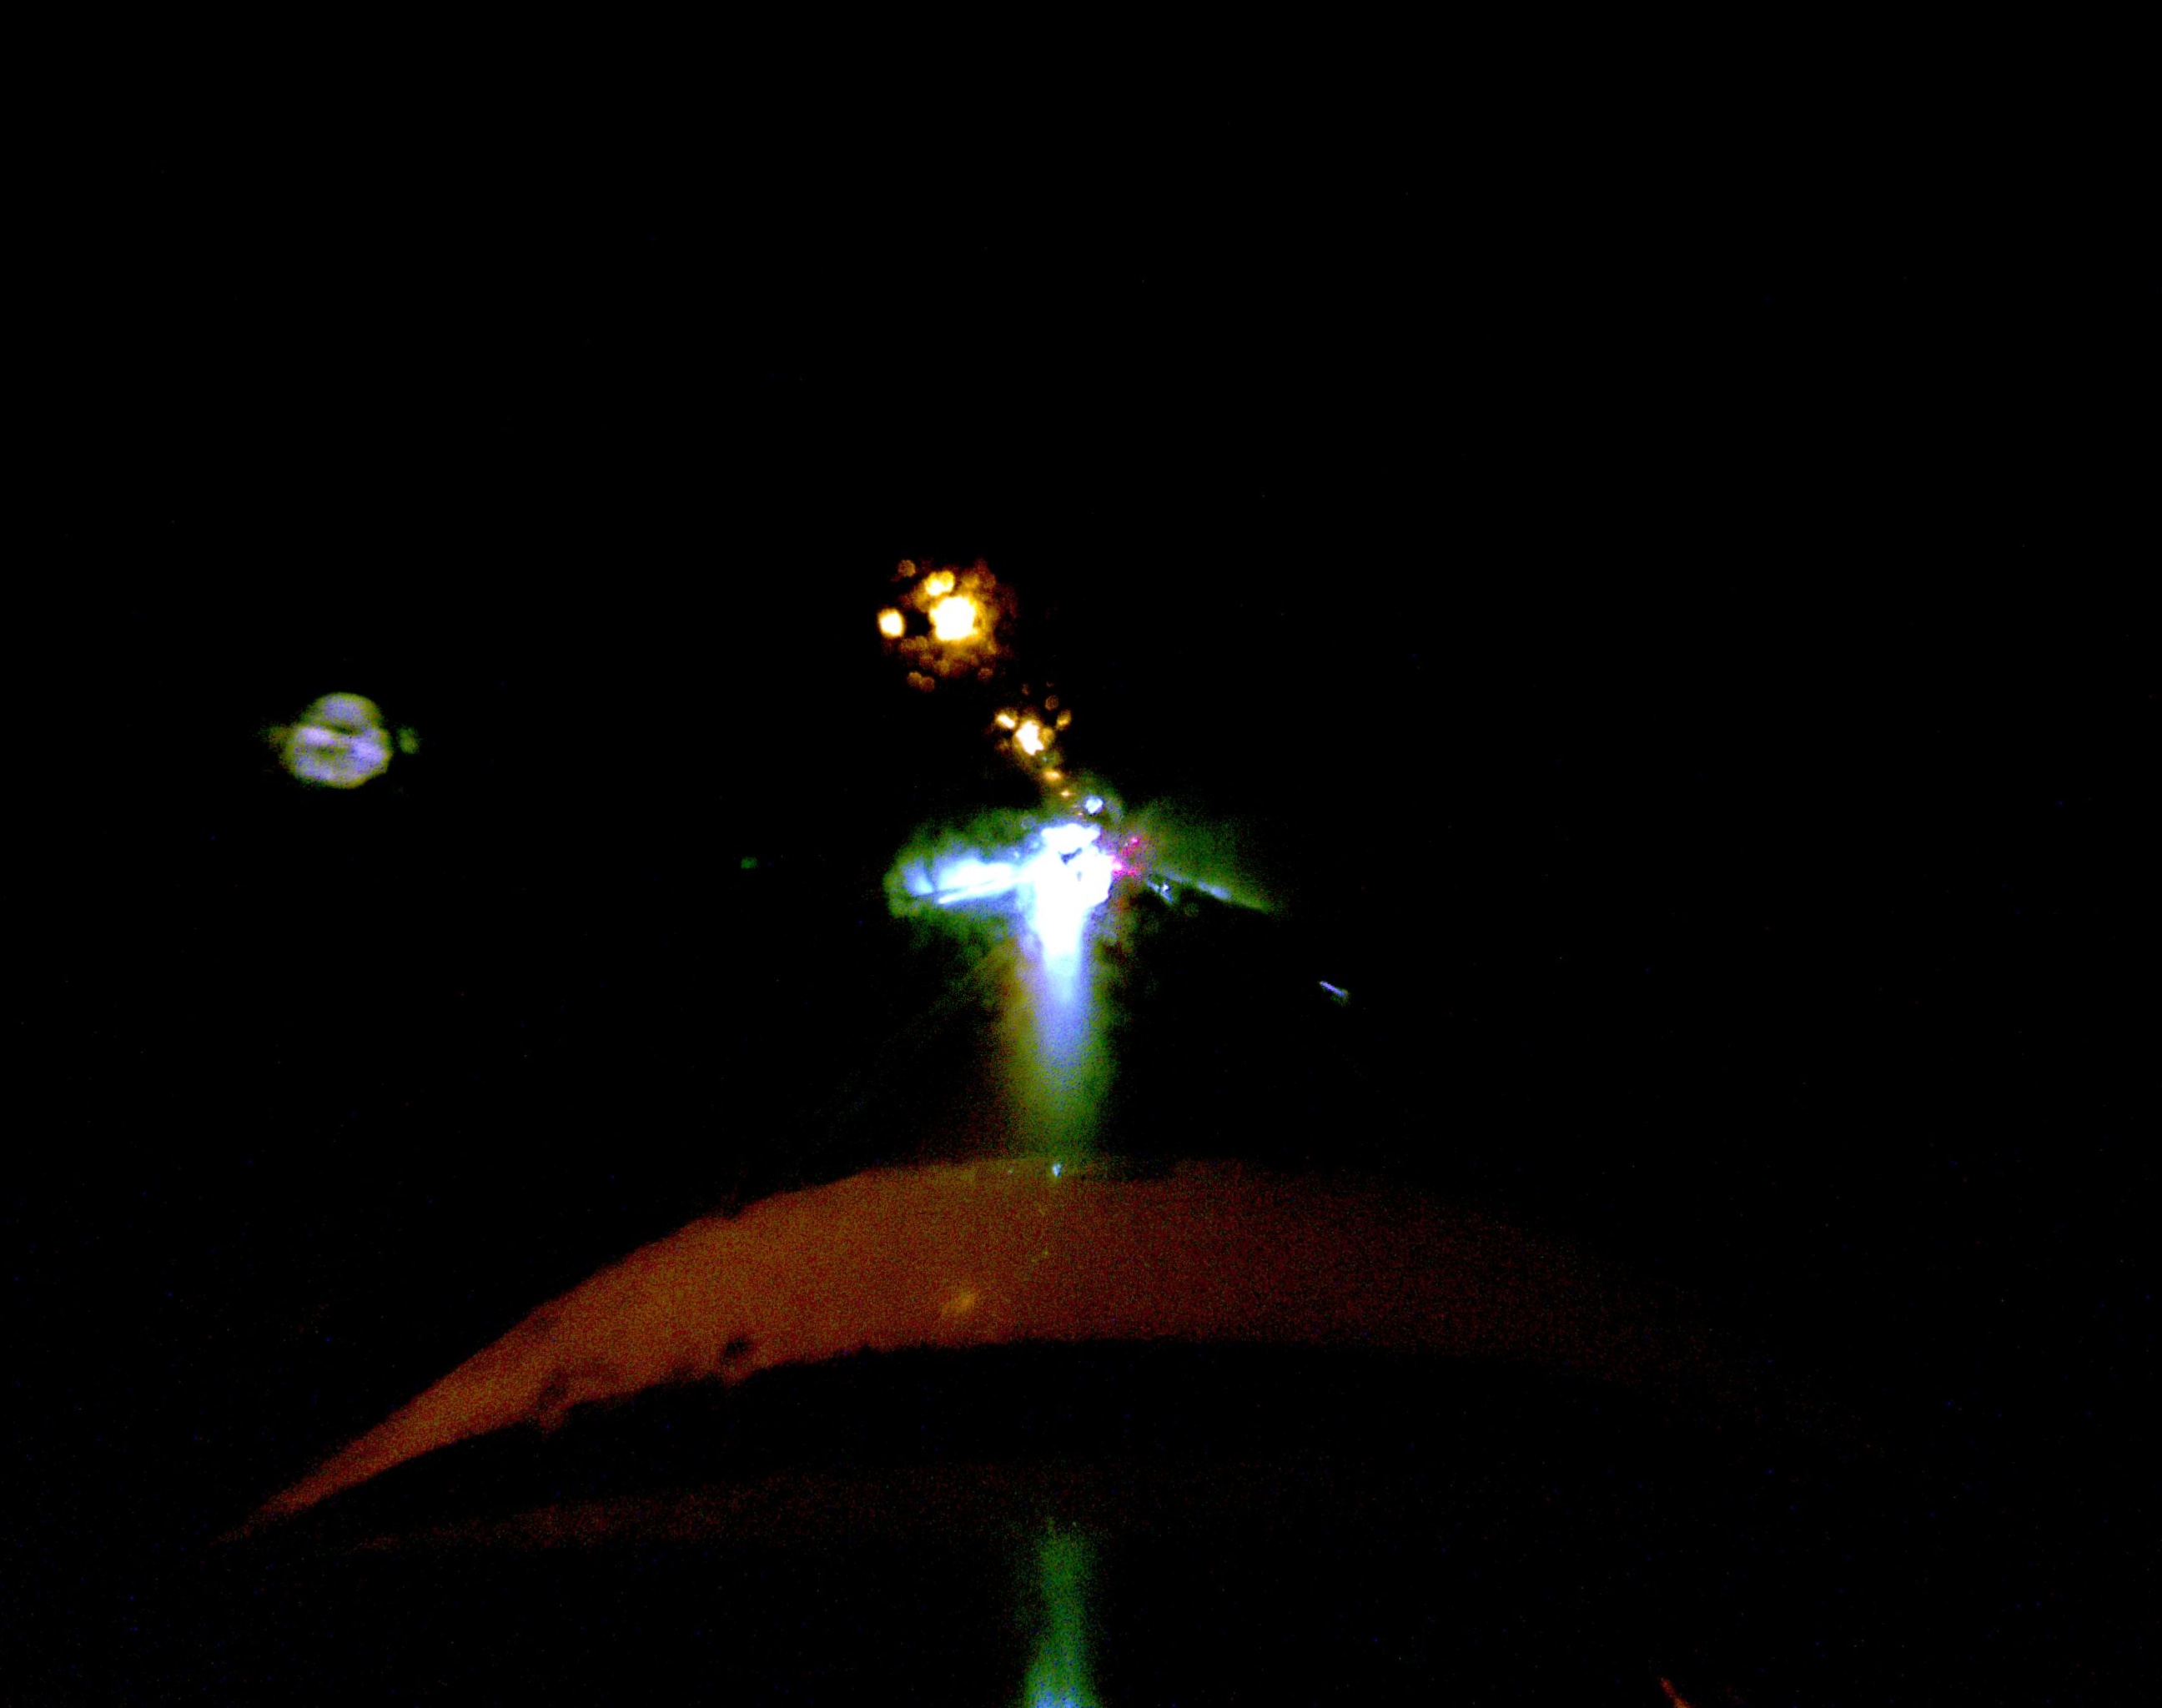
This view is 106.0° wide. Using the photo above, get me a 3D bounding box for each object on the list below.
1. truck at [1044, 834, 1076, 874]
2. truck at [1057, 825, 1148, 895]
[{"bbox_3d":[-1.639,-0.028,64.951,2.272,3.016,6.594,0,0,1],"label":"truck"},{"bbox_3d":[1.030,0.264,36.545,3.521,2.693,8.960,-1,0,2],"label":"truck"}]
